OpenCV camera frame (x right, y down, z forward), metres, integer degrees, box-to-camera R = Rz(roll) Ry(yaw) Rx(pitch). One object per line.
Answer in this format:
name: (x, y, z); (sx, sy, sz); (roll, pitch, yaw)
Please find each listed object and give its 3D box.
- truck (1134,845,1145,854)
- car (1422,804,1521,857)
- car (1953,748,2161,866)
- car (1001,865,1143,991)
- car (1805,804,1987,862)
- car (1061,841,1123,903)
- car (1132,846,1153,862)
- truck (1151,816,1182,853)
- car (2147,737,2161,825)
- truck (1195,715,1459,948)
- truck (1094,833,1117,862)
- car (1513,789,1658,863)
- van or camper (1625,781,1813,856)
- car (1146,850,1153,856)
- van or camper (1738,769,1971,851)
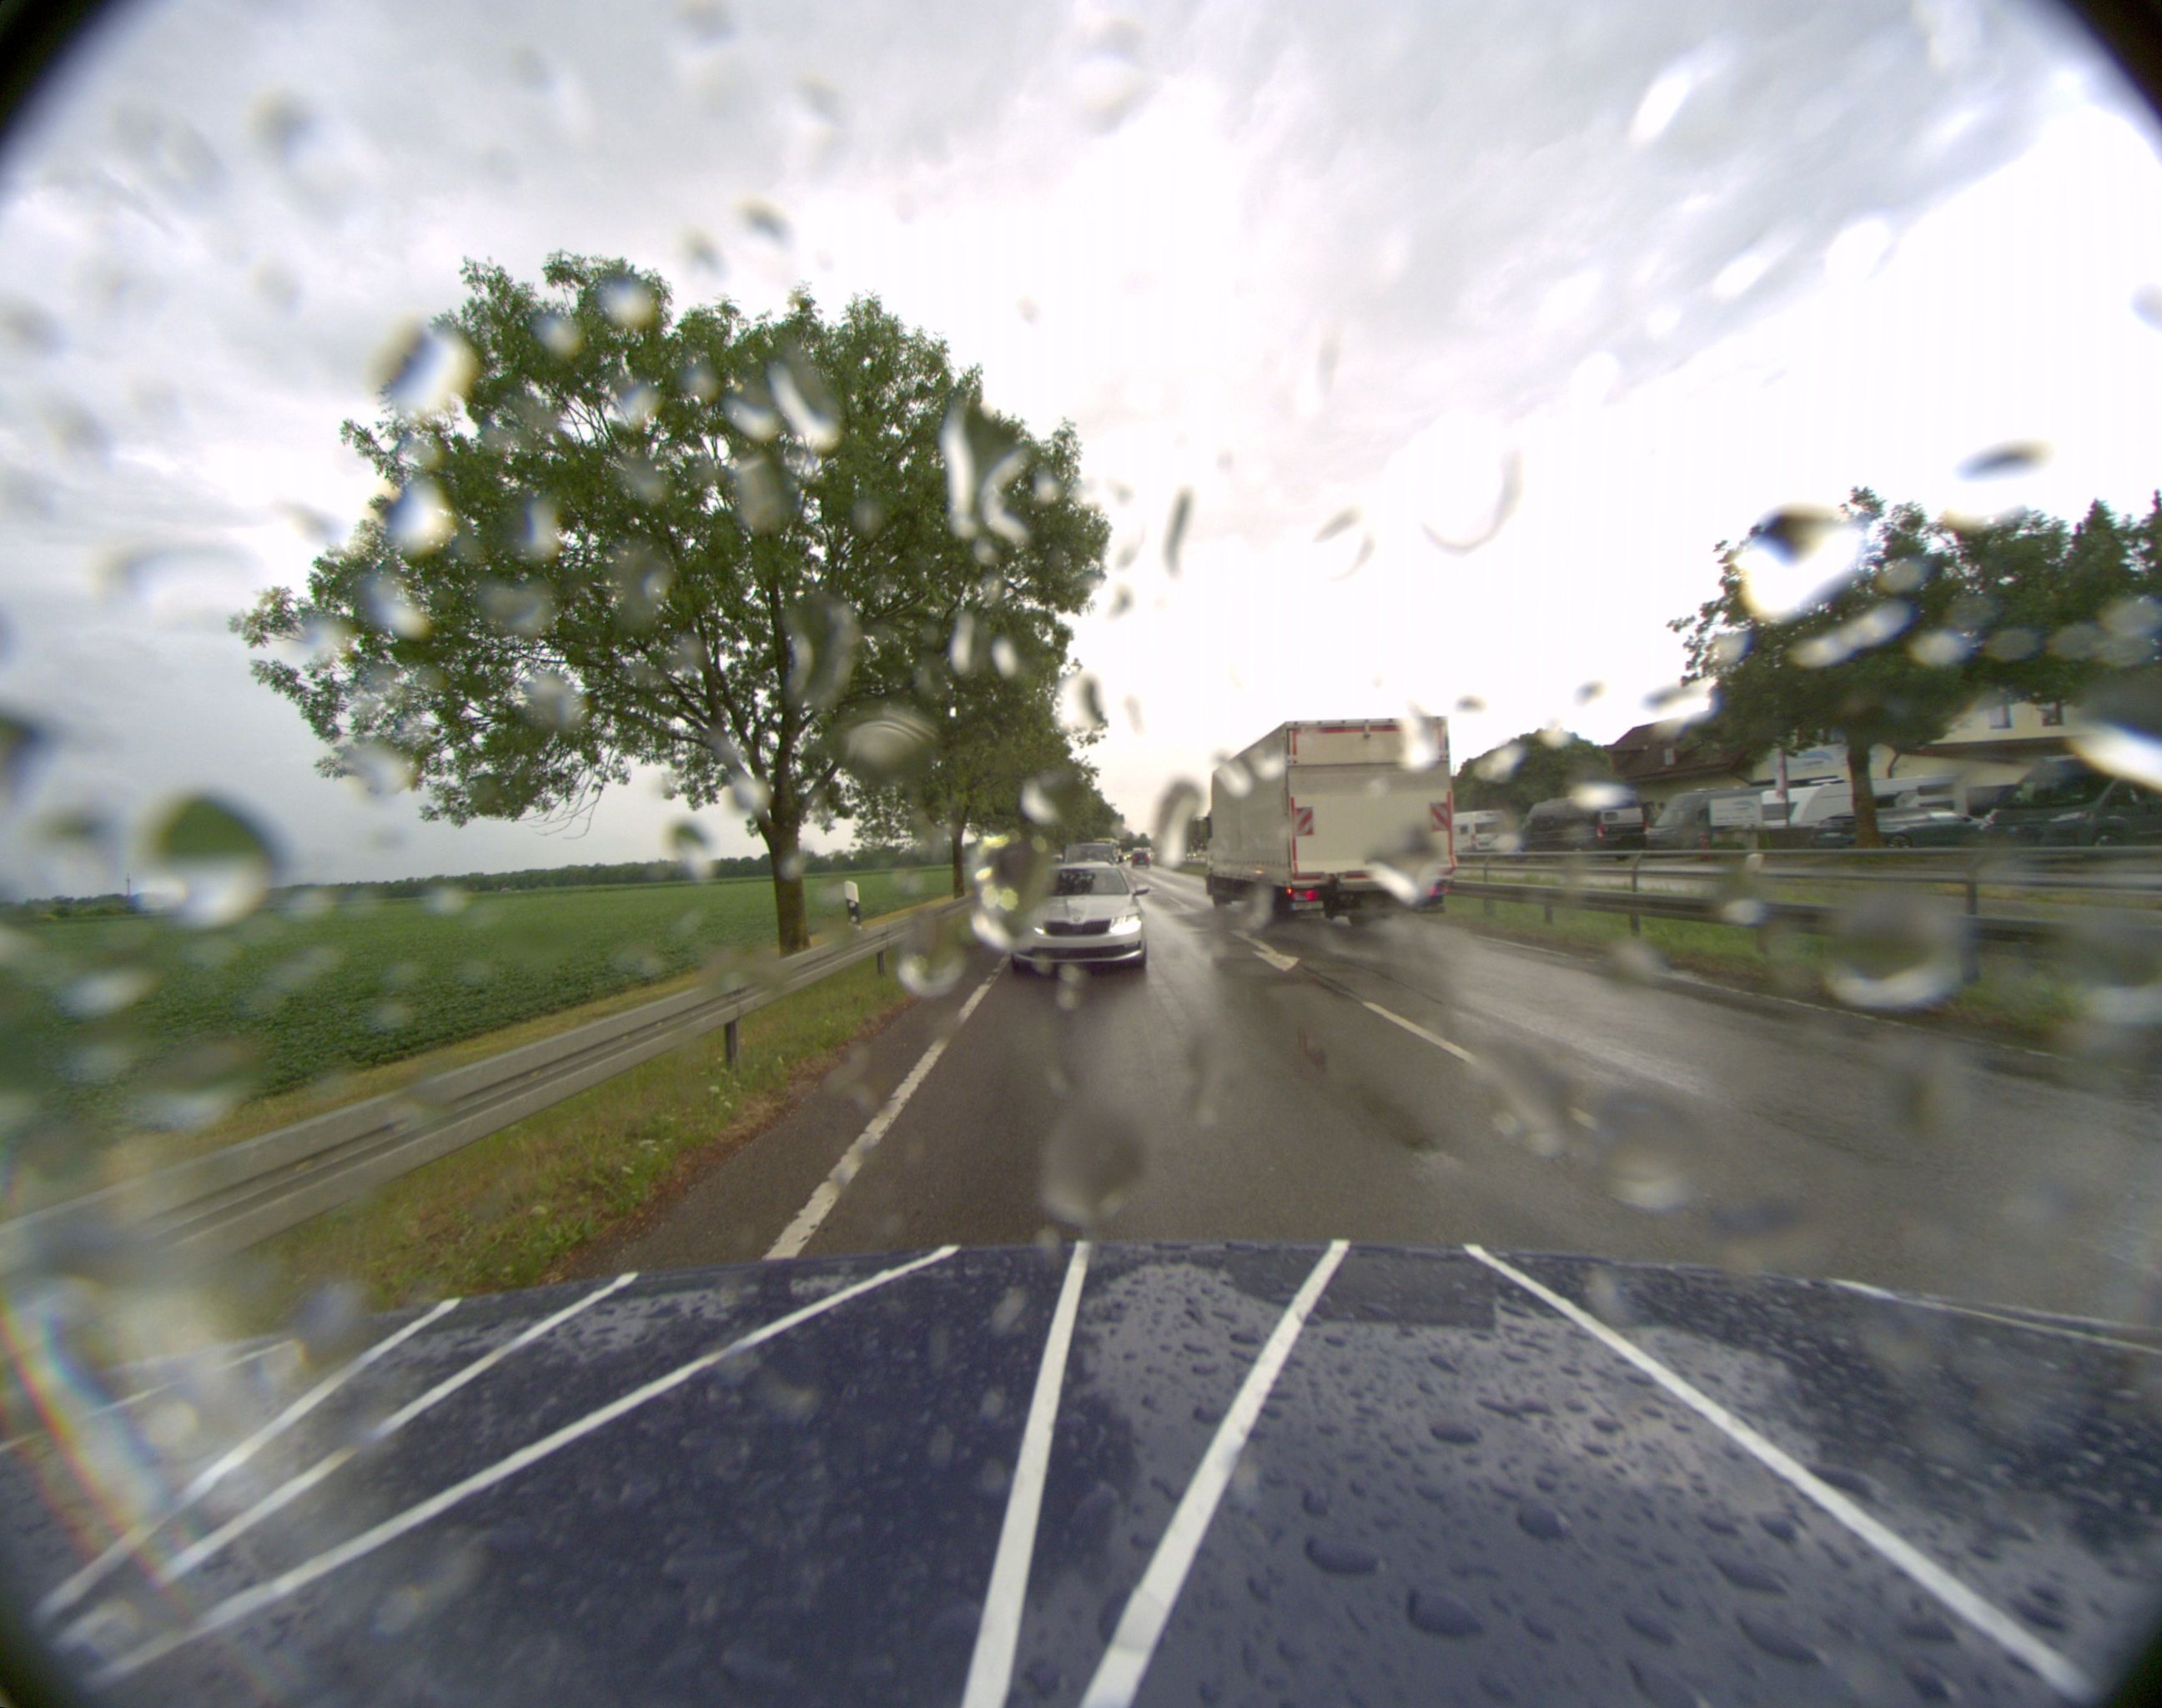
truck: (16.550, -1.363, 216.381); (2.800, 2.461, 7.169); (-3, 0, 4)
car: (21.217, -1.216, 41.624); (2.243, 2.565, 6.019); (-4, 0, 1)
car: (24.577, -1.149, 18.162); (5.196, 2.487, 1.999); (-4, 0, -2)
car: (-0.103, 0.935, 11.288); (1.705, 1.438, 4.000); (-1, 0, 0)
car: (25.231, -0.639, 23.608); (3.894, 1.487, 1.540); (-4, 0, 0)
car: (0.362, 0.565, 25.751); (1.903, 1.884, 4.000); (-1, 0, 0)
car: (6.309, 0.017, 78.340); (1.768, 1.610, 4.000); (-2, 0, 0)
truck: (12.487, -2.802, 111.606); (3.257, 5.004, 7.782); (-4, 0, 0)
car: (34.017, -2.278, 20.987); (6.107, 2.524, 2.091); (-3, 0, 0)
truck: (4.418, -0.344, 16.183); (2.582, 3.432, 9.556); (-2, 0, 1)
truck: (3.212, -0.883, 100.486); (2.751, 3.547, 8.387); (-3, 0, 2)
car: (21.295, -1.101, 32.462); (2.389, 2.747, 5.573); (-4, 0, 1)
van or camper: (27.729, -1.505, 33.193); (6.069, 2.785, 2.434); (-4, 0, -1)
car: (21.627, -0.454, 238.807); (1.811, 1.723, 4.027); (-3, 0, 2)
van or camper: (29.439, -1.617, 29.102); (6.239, 2.576, 2.561); (-4, 0, -1)
